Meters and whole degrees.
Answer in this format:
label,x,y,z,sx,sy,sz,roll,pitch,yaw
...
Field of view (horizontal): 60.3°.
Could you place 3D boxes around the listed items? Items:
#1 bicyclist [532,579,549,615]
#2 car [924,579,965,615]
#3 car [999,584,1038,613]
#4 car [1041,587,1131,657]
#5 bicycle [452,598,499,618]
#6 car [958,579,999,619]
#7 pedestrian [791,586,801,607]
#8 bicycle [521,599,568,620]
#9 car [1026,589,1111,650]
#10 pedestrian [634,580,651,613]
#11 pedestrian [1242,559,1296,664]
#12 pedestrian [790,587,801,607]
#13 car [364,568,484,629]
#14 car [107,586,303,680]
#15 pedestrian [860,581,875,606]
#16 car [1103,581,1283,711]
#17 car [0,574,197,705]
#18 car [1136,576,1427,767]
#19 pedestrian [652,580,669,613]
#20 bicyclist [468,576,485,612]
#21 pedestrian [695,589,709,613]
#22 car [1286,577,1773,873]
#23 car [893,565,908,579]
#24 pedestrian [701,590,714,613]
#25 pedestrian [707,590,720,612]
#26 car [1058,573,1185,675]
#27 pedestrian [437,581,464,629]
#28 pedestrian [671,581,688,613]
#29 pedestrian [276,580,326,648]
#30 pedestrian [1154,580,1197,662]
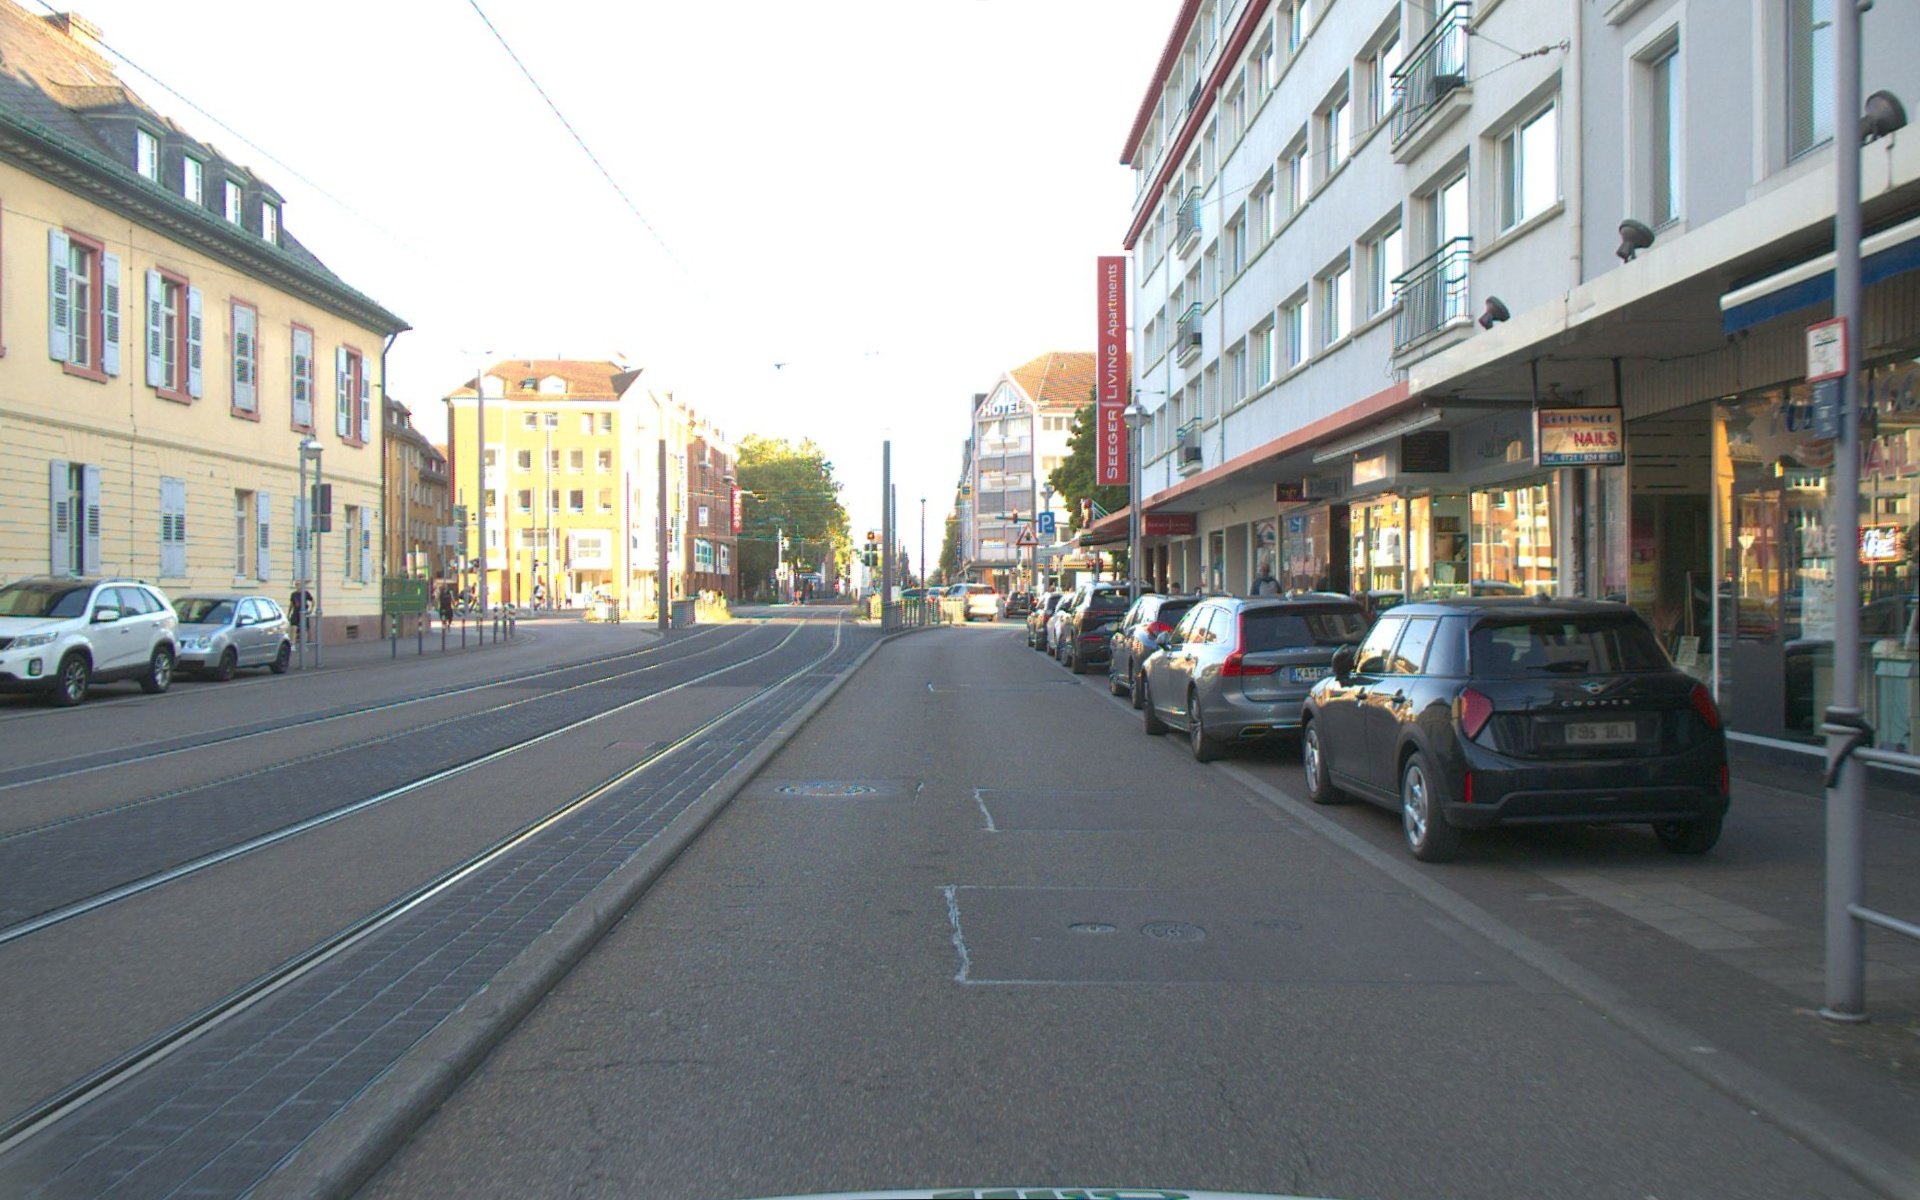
label,x,y,z,sx,sy,sz,roll,pitch,yaw
bicyclist,-24.378,-0.168,96.165,0.848,2.049,0.642,2,0,-22
car,-0.796,-0.128,86.033,1.953,1.623,3.999,-4,-1,-1
car,3.044,-0.089,86.765,1.729,1.465,3.998,0,1,-3
car,2.783,0.475,37.250,1.618,1.445,4.190,2,0,-1
bicycle,-28.179,0.452,96.250,2.602,1.119,0.433,2,0,-21
car,0.826,-0.026,75.164,1.797,1.665,4.090,-1,-1,0
pedestrian,-14.384,-0.323,145.280,0.789,1.855,0.703,1,0,1
bicycle,-24.167,0.552,96.248,2.602,1.119,0.433,2,0,-21
car,2.720,0.480,42.393,1.754,1.437,4.686,2,0,-1
pedestrian,-13.563,-0.147,70.715,0.650,1.399,0.651,0,0,-4
pedestrian,5.708,0.207,30.605,0.759,1.913,0.934,-1,0,-3
pedestrian,-14.356,-0.234,144.452,0.788,1.693,0.703,1,0,2
car,-18.708,-0.069,57.880,3.924,2.049,1.990,-1,0,-17
car,-13.387,0.534,29.602,1.713,1.499,3.999,2,1,-1
pedestrian,-5.253,-0.386,93.961,0.885,1.399,0.853,0,0,-4
car,3.064,0.547,22.576,1.745,1.549,4.356,2,1,-1
car,-12.992,0.490,23.949,1.849,1.690,4.758,2,0,-3
car,2.961,0.606,16.328,1.755,1.560,4.855,2,0,-2
pedestrian,-12.823,-0.137,70.853,0.650,1.399,0.651,0,0,-4
bicyclist,-28.145,-0.337,96.267,0.848,2.049,0.643,2,0,-21
pedestrian,-23.236,0.086,148.888,1.071,2.049,0.908,1,0,-4
car,3.388,0.659,10.676,1.691,1.507,3.999,2,0,-1
car,-8.449,-3.944,233.561,1.953,1.934,4.000,1,0,0
pedestrian,-22.978,0.132,150.382,1.071,2.049,0.908,1,0,-4
pedestrian,-22.982,0.111,154.274,1.071,2.049,1.162,1,0,-3
car,2.948,0.419,31.077,1.818,1.730,4.417,2,0,-1
pedestrian,-16.640,0.162,54.027,0.705,1.563,0.718,-1,0,-5
pedestrian,-12.063,-0.129,71.238,0.650,1.399,0.651,0,0,-4
pedestrian,-15.568,0.318,39.092,0.783,1.568,0.877,1,0,1
pedestrian,4.302,0.410,33.095,0.718,1.601,0.966,0,0,-2
